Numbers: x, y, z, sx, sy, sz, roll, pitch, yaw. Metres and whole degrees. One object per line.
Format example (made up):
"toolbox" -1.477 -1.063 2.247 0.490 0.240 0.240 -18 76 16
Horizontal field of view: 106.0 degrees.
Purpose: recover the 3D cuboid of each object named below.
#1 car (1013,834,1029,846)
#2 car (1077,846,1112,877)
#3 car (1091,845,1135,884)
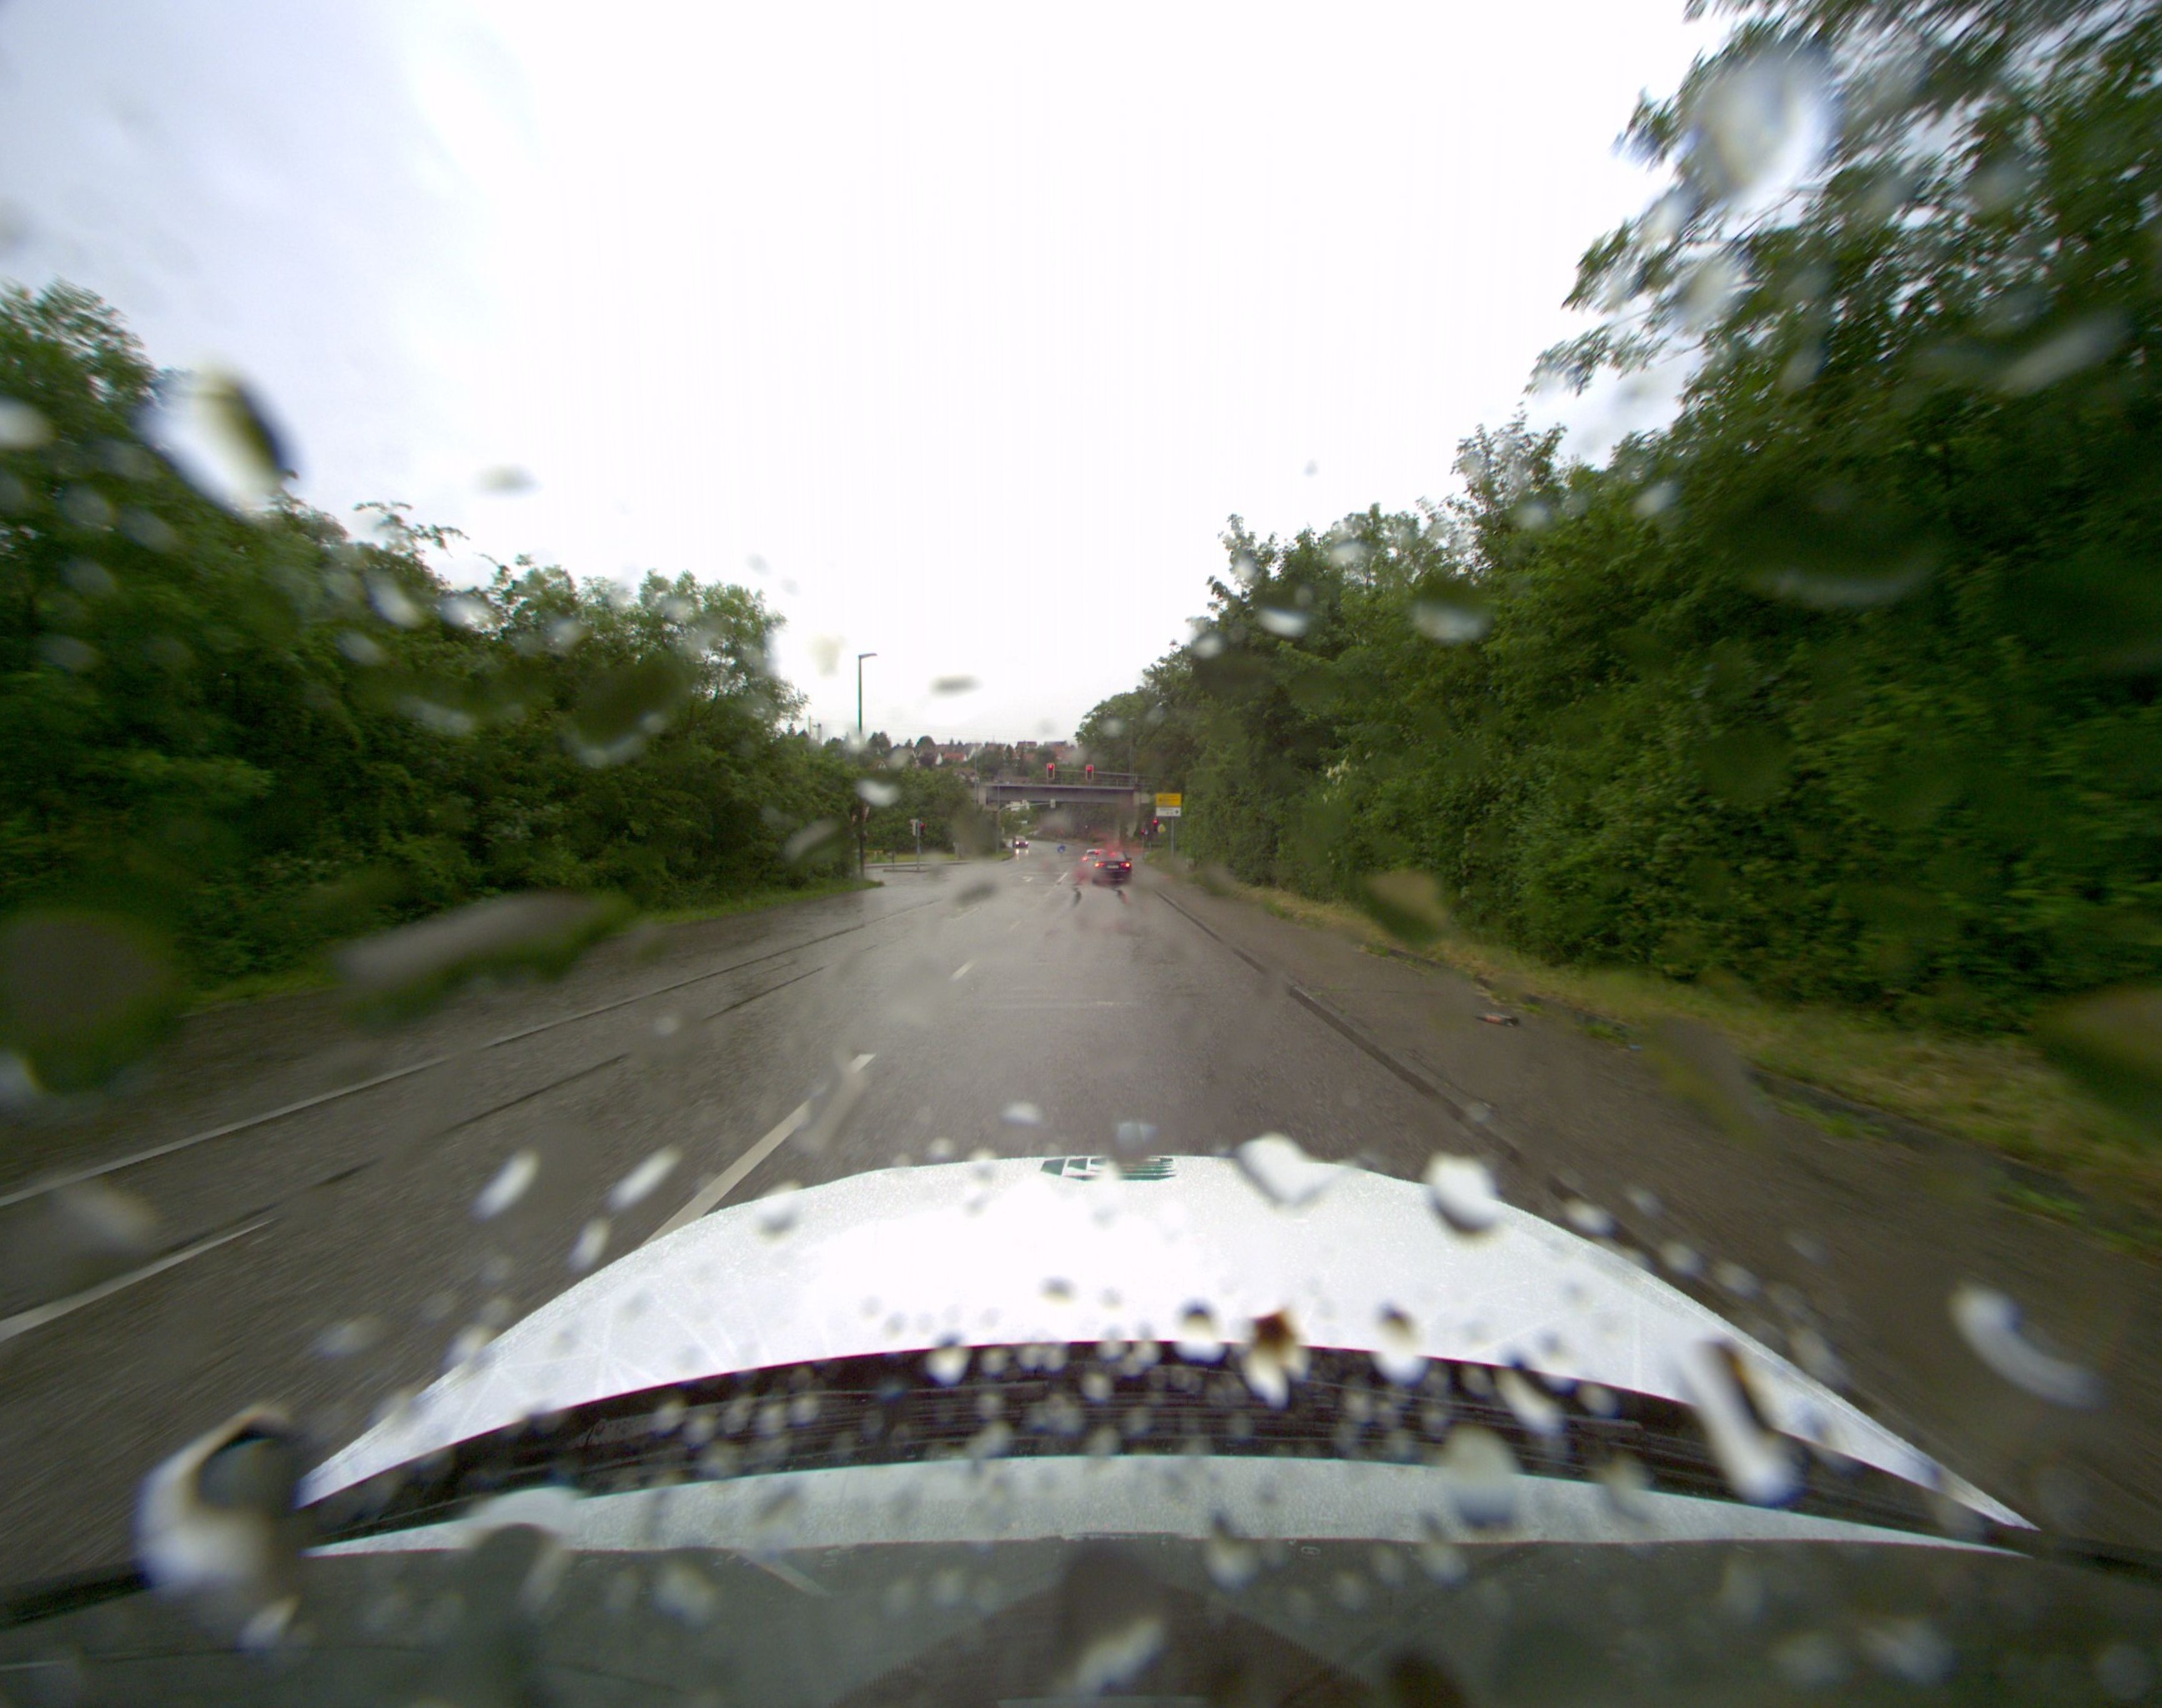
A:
"car" -9.077 -2.059 122.940 1.995 1.628 3.983 -1 -1 -12
"car" 0.752 0.391 44.359 1.816 1.585 4.001 -1 0 1
"car" 1.462 0.443 37.292 1.863 1.616 4.002 2 0 2
